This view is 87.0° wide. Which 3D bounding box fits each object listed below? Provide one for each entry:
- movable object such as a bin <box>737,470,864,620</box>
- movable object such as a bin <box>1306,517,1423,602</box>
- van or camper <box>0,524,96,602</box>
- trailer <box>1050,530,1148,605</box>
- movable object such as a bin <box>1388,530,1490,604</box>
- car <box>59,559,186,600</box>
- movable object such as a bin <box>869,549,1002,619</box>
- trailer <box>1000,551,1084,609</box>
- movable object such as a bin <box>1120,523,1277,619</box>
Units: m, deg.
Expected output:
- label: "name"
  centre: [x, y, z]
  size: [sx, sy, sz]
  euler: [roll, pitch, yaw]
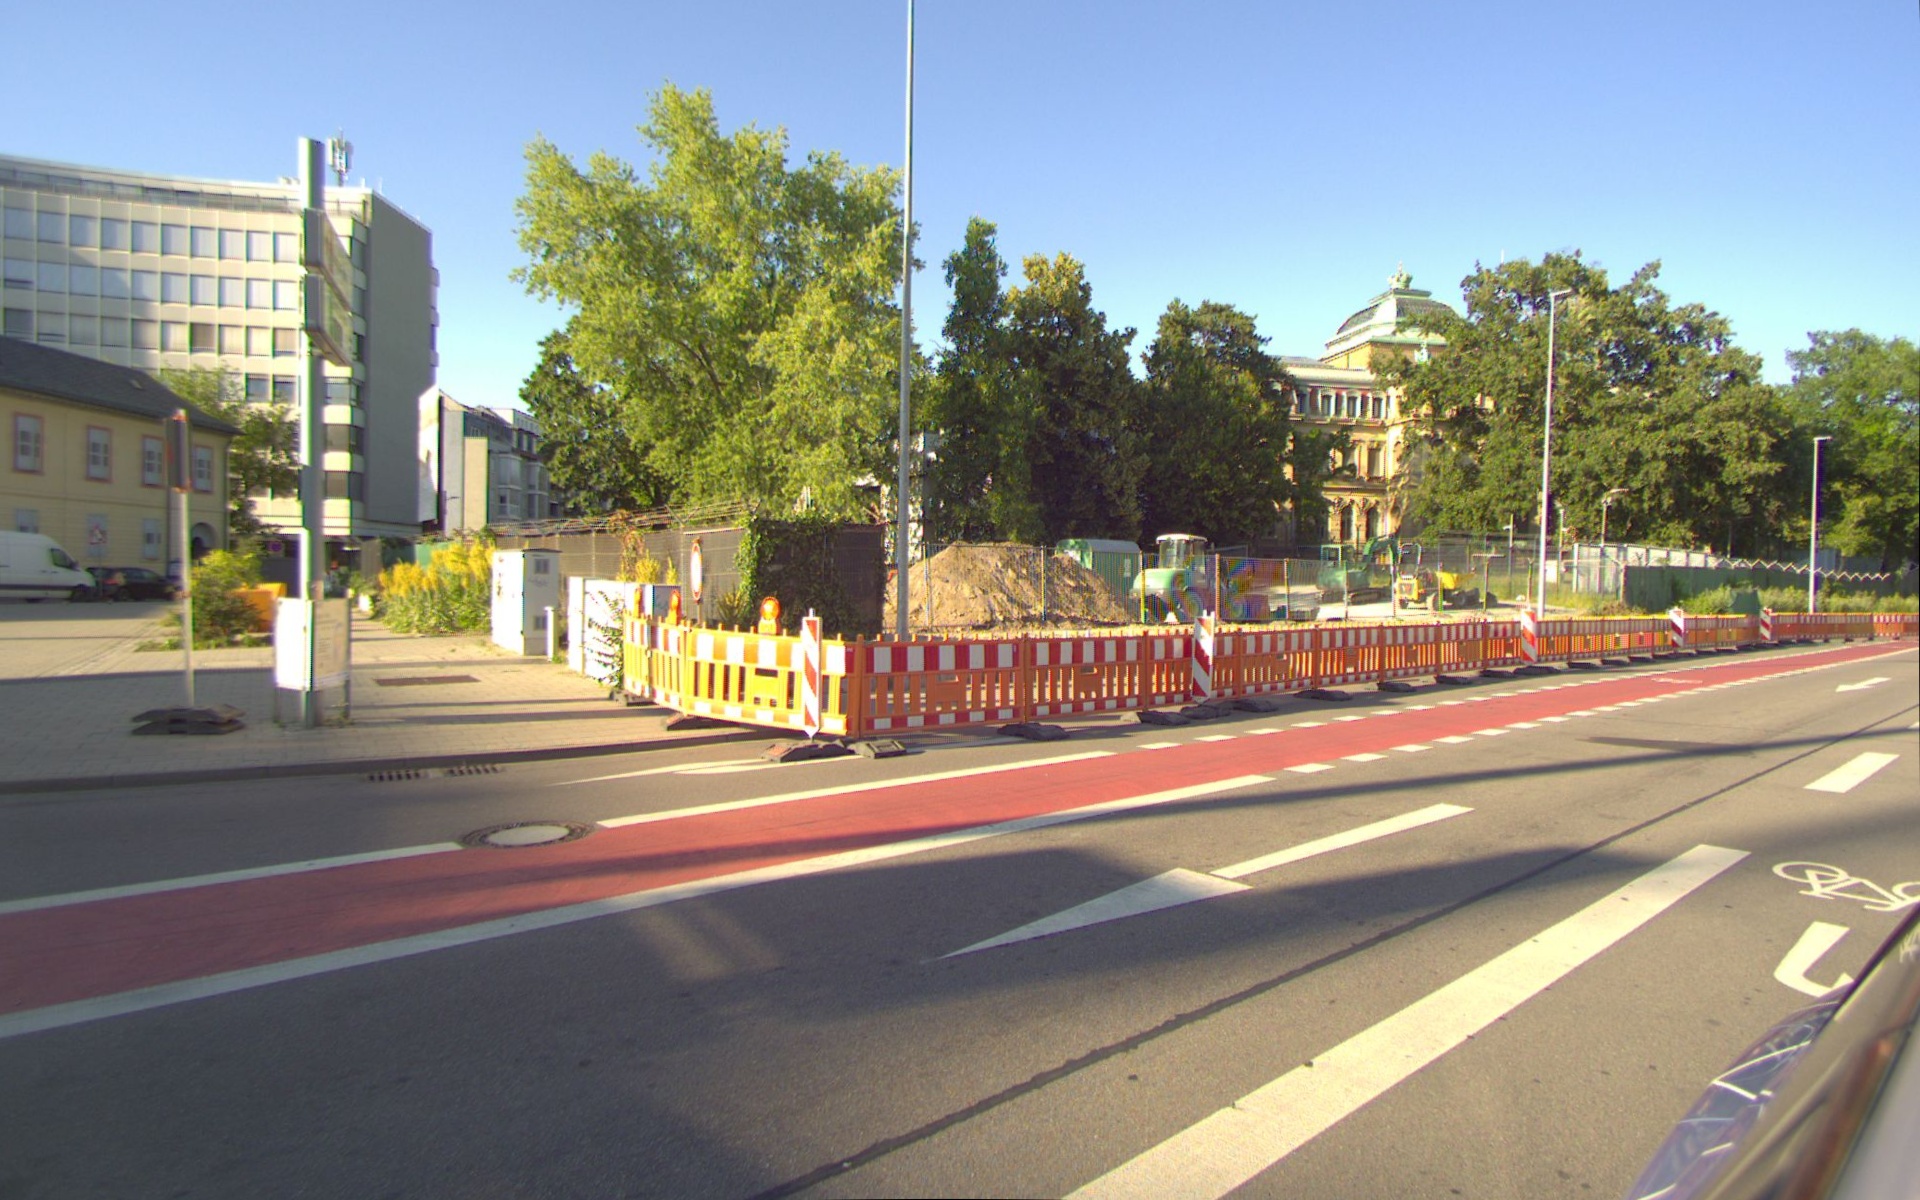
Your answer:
- label: "movable object such as a bin"
  centre: [-4.537, -1.401, 27.740]
  size: [2.801, 3.602, 6.095]
  euler: [1, 1, -15]
- label: "movable object such as a bin"
  centre: [18.232, -1.769, 45.488]
  size: [5.395, 3.602, 2.283]
  euler: [0, 1, -36]
- label: "van or camper"
  centre: [-34.139, -1.322, 36.046]
  size: [1.962, 2.668, 5.607]
  euler: [1, 1, 0]
- label: "trailer"
  centre: [6.512, -1.578, 47.139]
  size: [3.923, 3.126, 2.612]
  euler: [-7, 7, -43]
- label: "movable object such as a bin"
  centre: [19.828, -1.338, 41.867]
  size: [3.922, 2.940, 2.001]
  euler: [0, 1, -33]
- label: "car"
  centre: [-34.537, -0.844, 41.880]
  size: [1.962, 1.593, 4.001]
  euler: [1, 1, 0]
- label: "movable object such as a bin"
  centre: [-1.000, -0.699, 38.576]
  size: [2.189, 2.349, 5.037]
  euler: [-7, 7, -43]
- label: "trailer"
  centre: [3.604, -0.934, 44.744]
  size: [2.189, 2.349, 2.950]
  euler: [-7, 7, -43]
- label: "movable object such as a bin"
  centre: [7.411, -0.865, 31.215]
  size: [4.855, 2.737, 2.280]
  euler: [0, 2, -41]
